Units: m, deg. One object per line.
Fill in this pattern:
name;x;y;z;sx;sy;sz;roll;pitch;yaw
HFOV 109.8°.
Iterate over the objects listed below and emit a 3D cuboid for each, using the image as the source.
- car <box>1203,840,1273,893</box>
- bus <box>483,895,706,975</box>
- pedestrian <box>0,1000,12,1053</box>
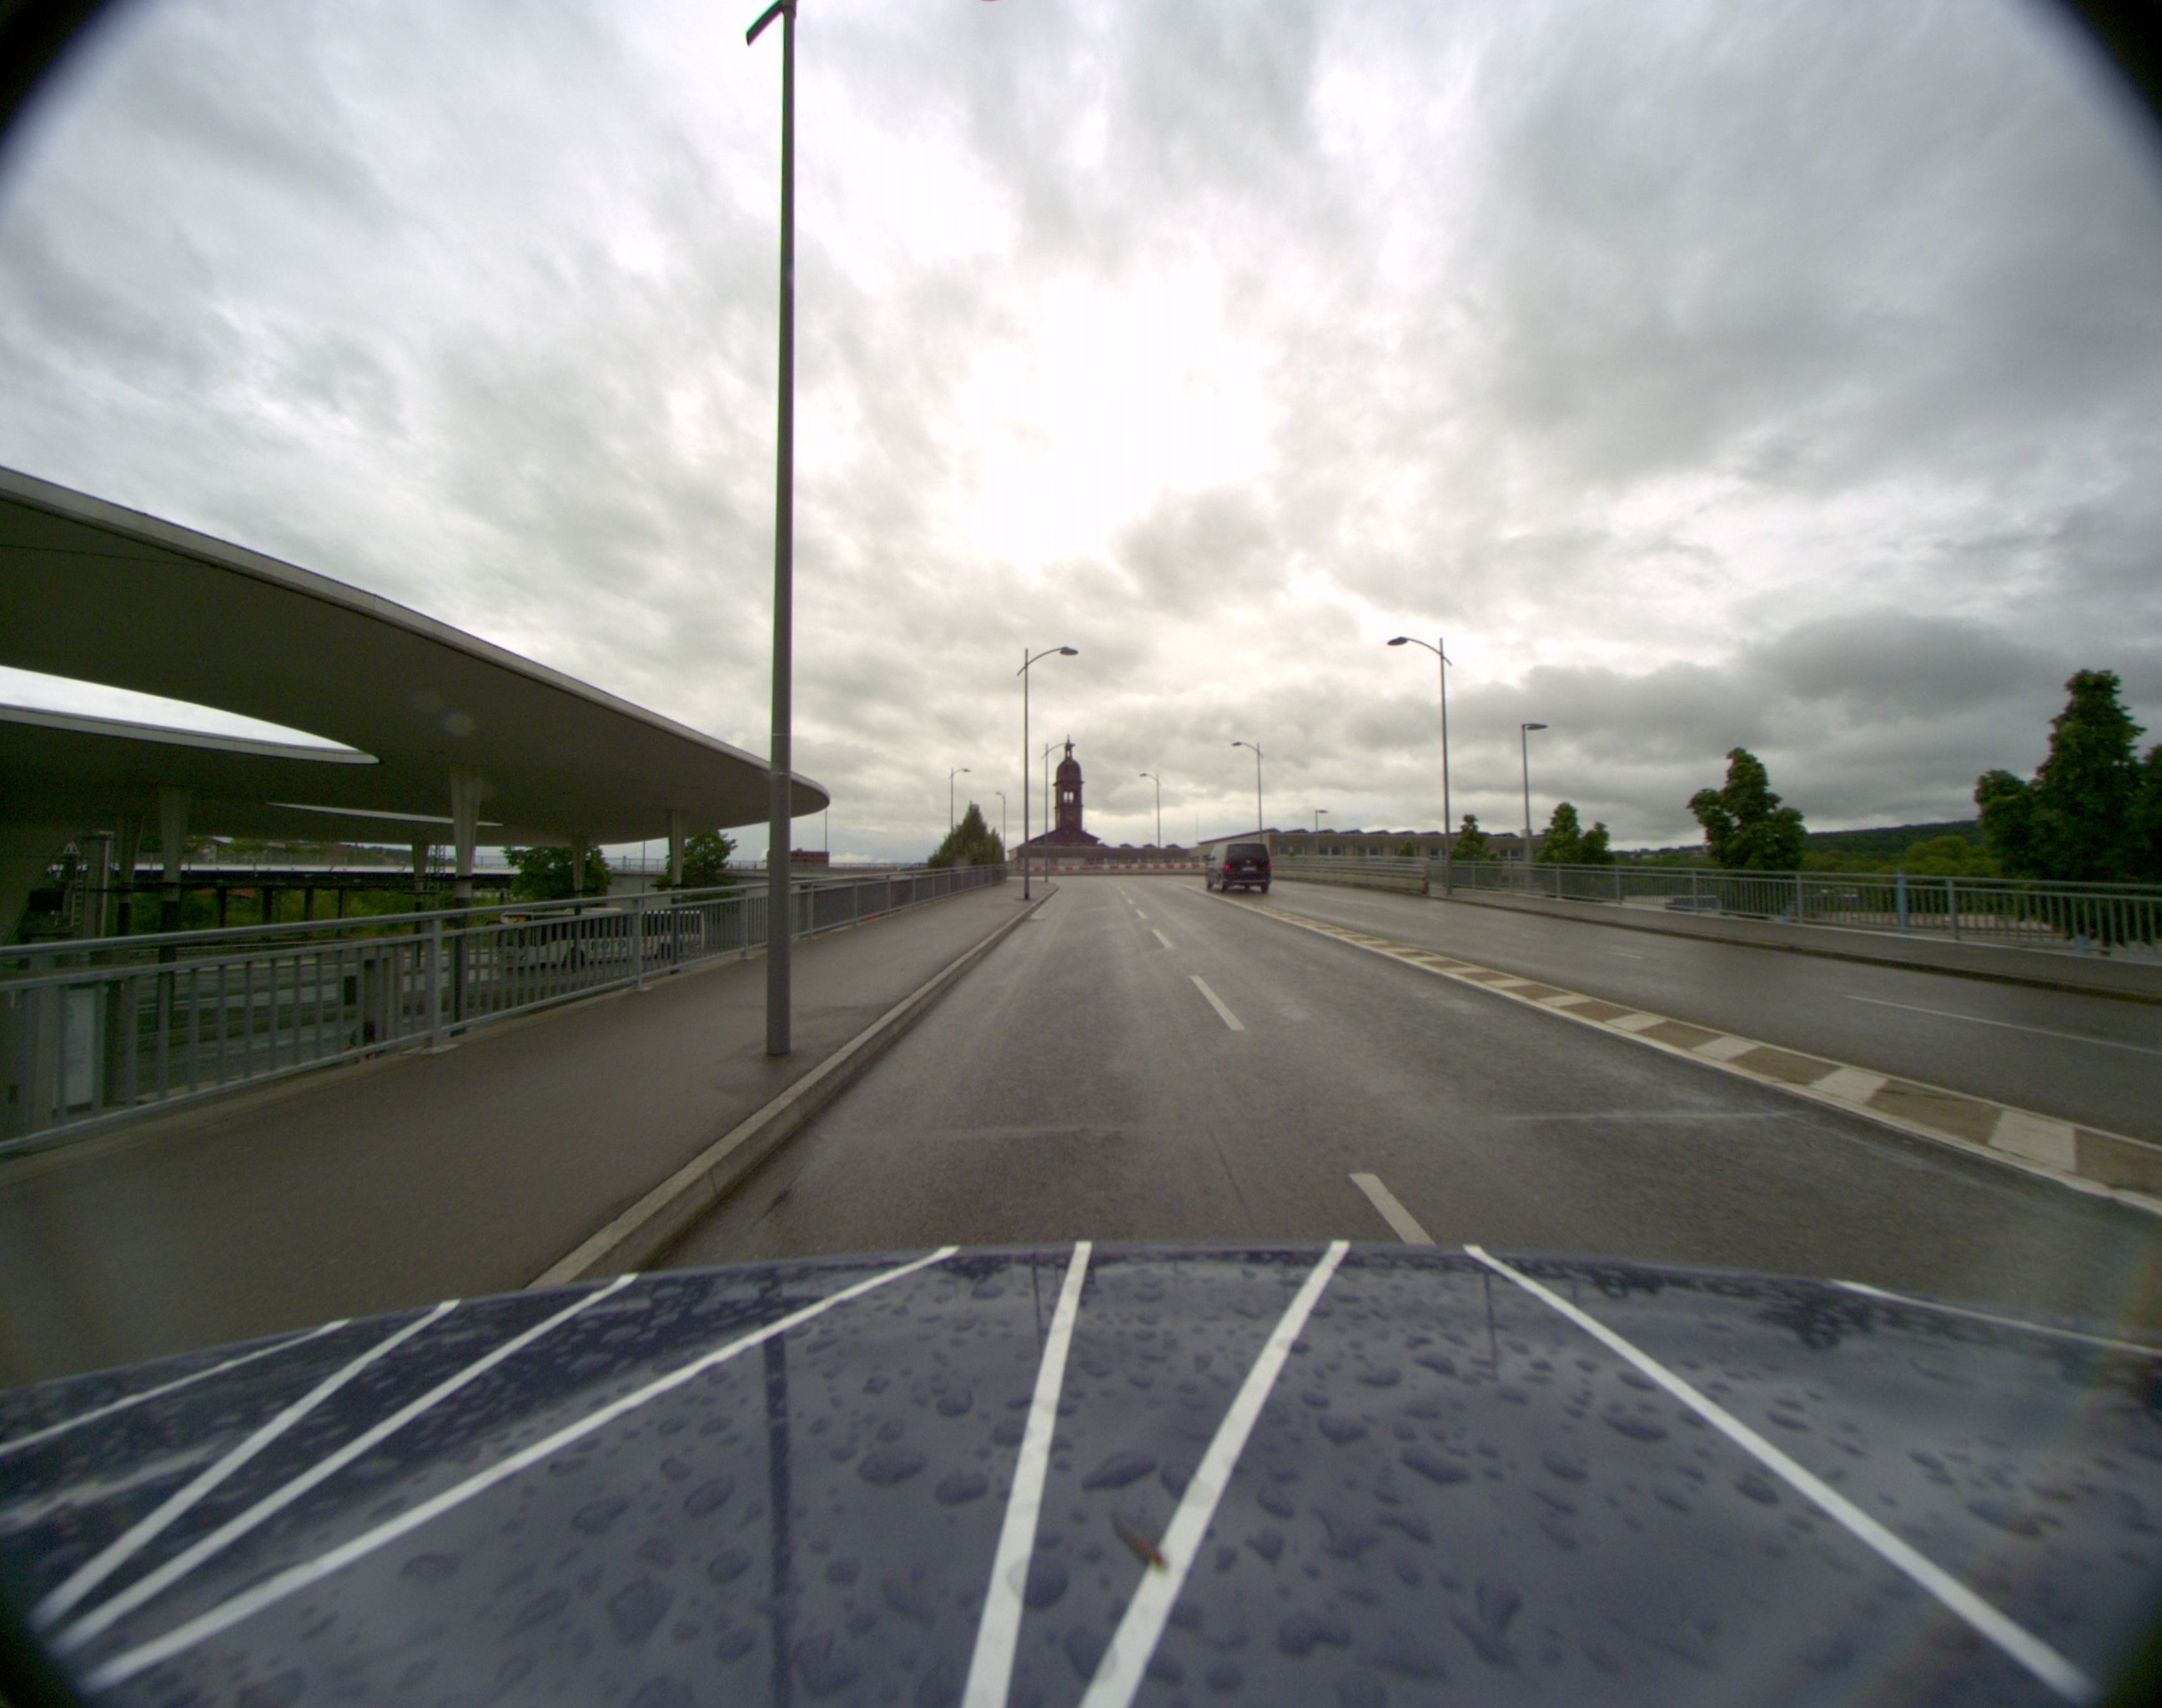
car;6.259;0.449;30.855;1.850;1.956;4.684;0;1;0
bus;-28.529;4.590;45.778;2.792;3.238;12.155;-3;1;18
pedestrian;-24.415;3.883;16.796;0.536;1.157;0.669;-3;1;-2
